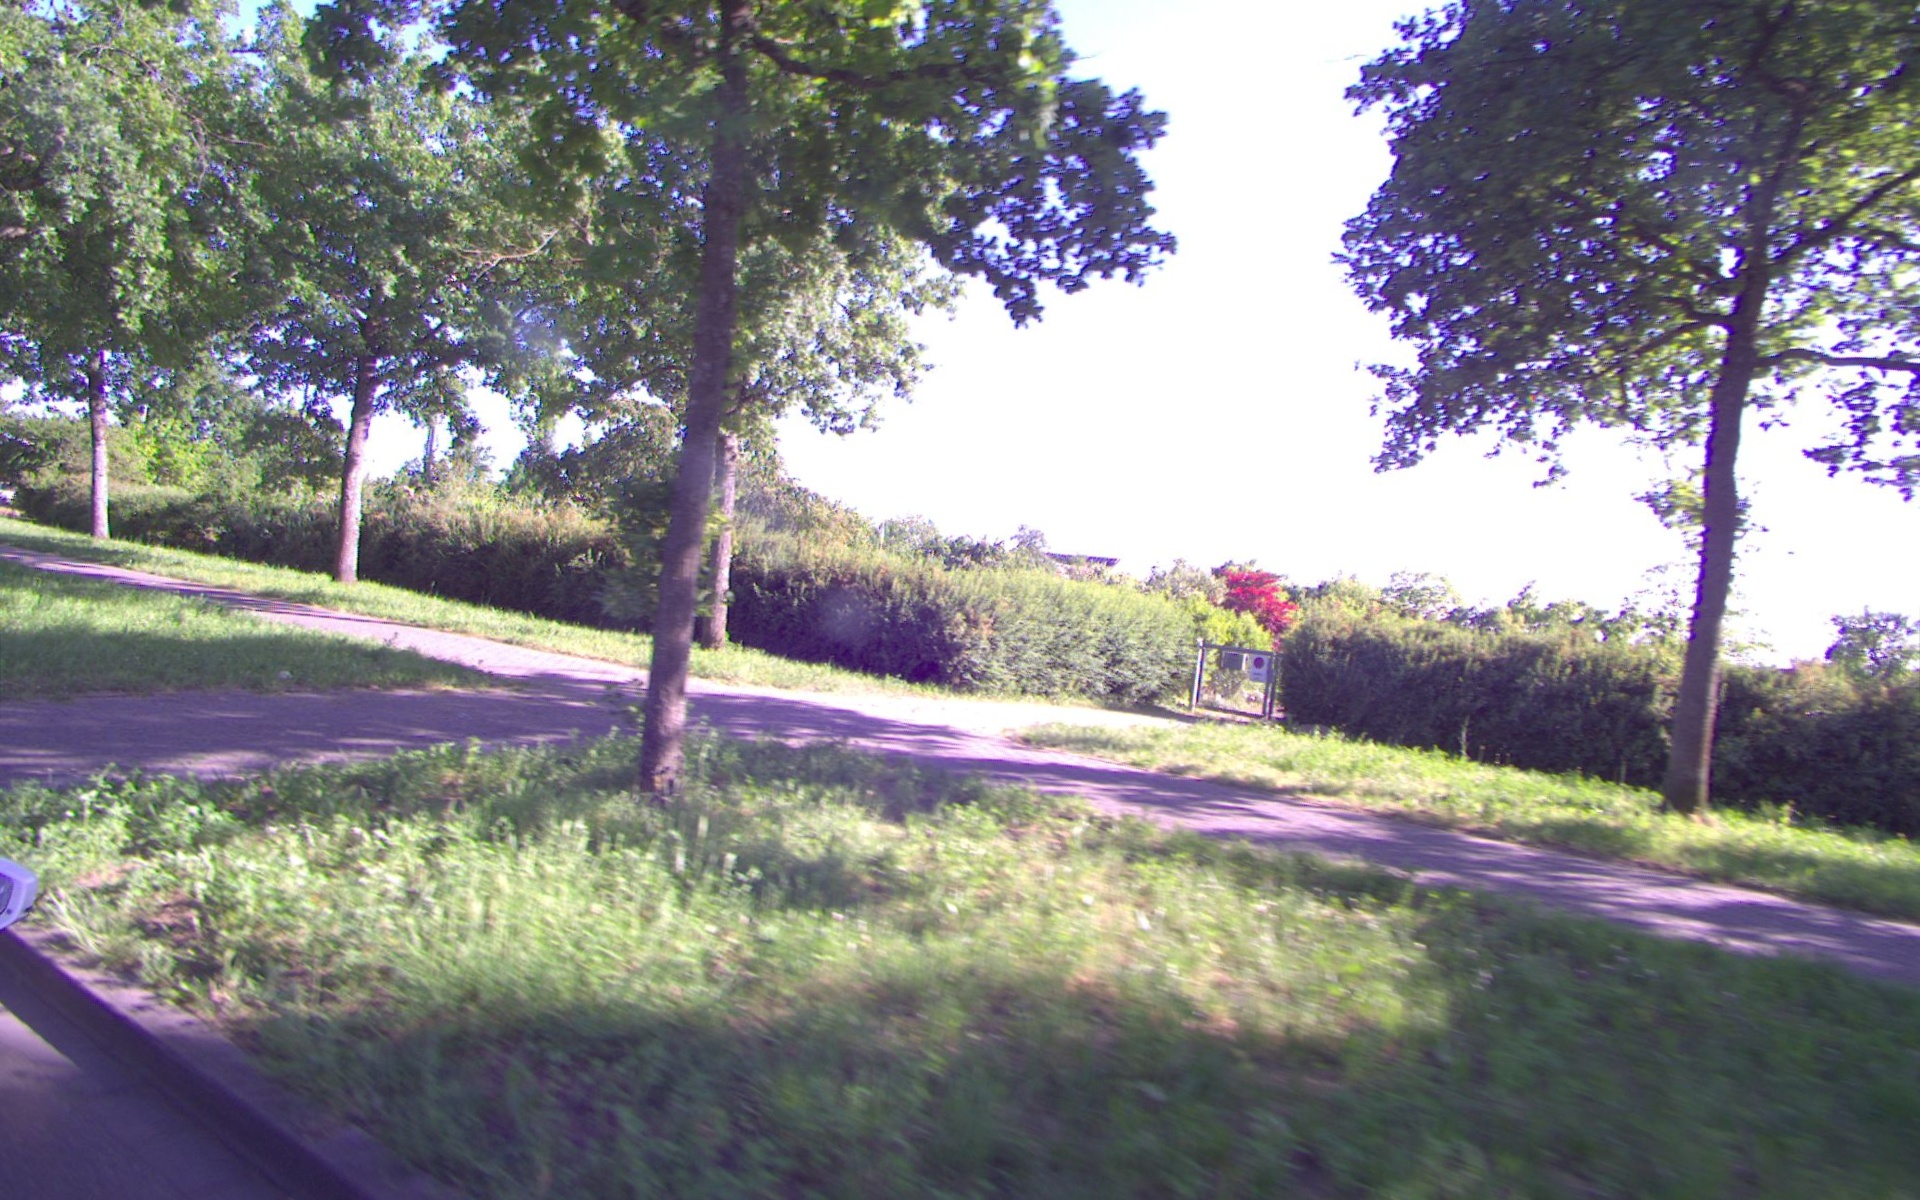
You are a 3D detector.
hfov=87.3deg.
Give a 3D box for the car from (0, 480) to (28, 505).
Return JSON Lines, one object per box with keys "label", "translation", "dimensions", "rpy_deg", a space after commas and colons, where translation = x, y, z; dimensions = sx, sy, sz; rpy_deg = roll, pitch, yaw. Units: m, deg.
{"label": "car", "translation": [-74.233, -8.414, 78.644], "dimensions": [1.830, 1.660, 3.949], "rpy_deg": [6, 0, -44]}
